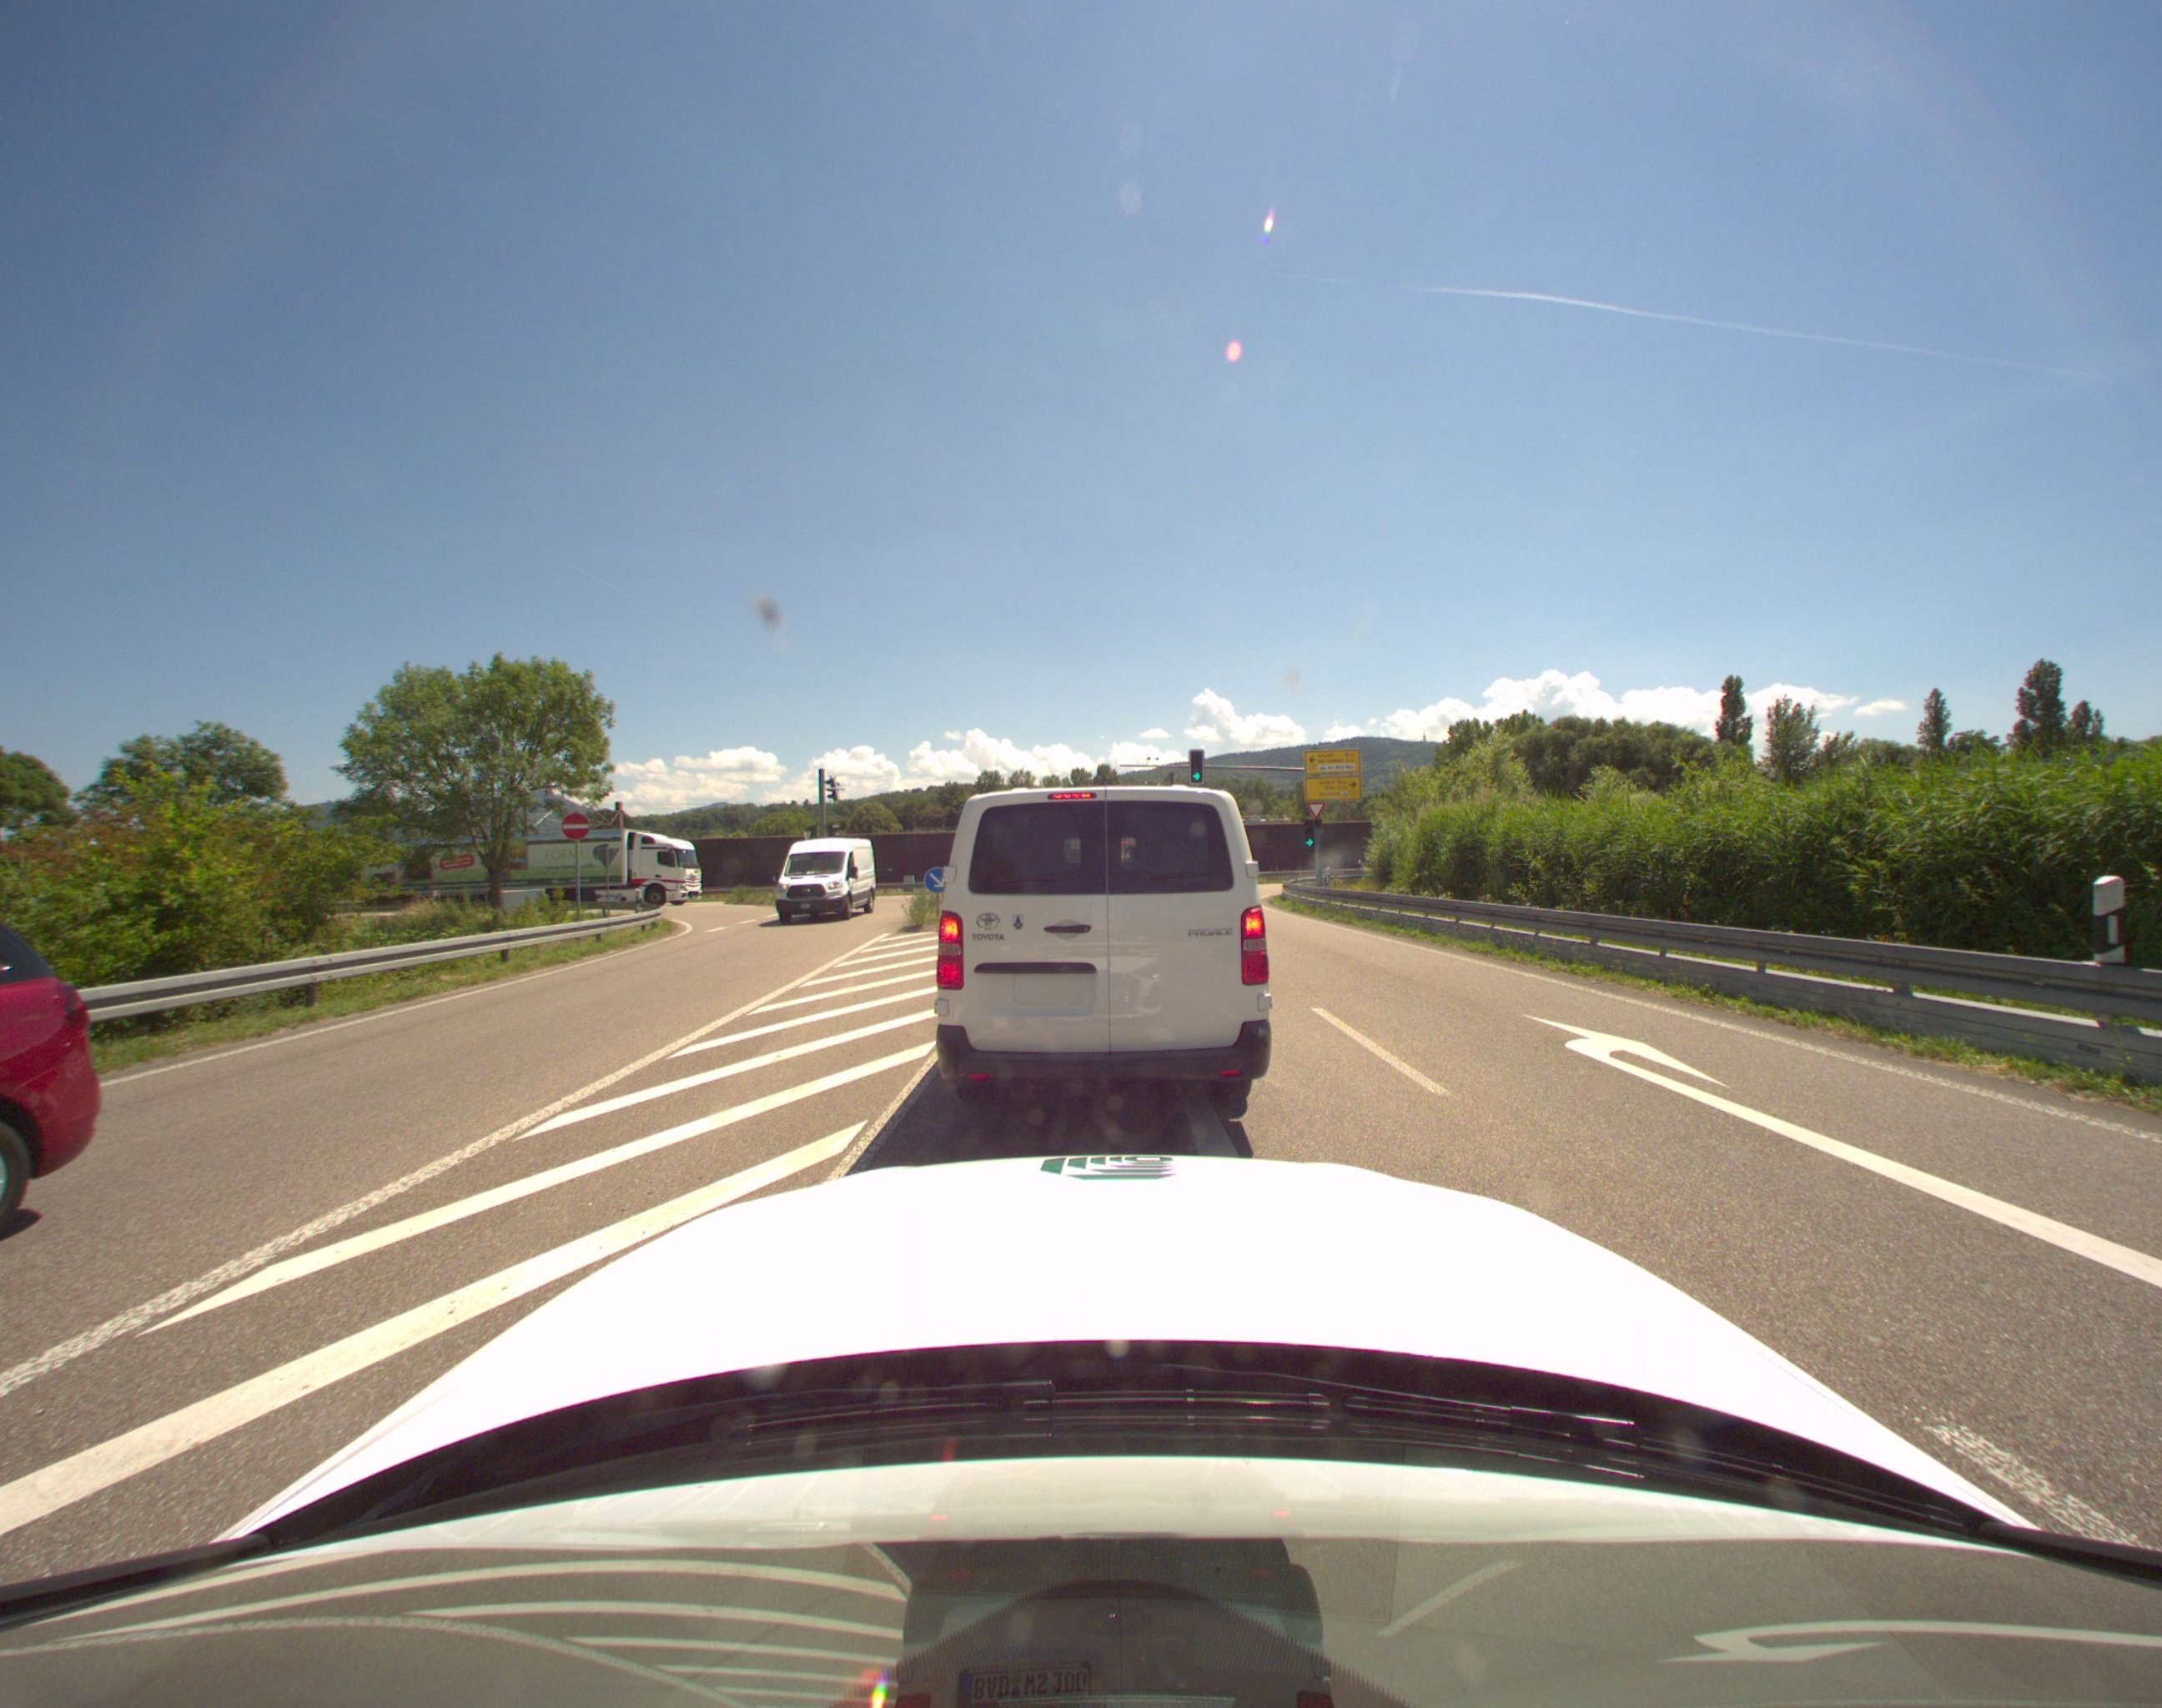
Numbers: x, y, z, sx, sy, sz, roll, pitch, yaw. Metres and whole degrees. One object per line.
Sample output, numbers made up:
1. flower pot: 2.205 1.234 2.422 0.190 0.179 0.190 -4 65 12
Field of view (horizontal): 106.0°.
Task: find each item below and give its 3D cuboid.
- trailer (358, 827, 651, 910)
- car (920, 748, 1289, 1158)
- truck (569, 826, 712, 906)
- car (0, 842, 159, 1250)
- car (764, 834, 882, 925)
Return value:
1. trailer: -29.986 0.751 42.752 13.098 3.954 3.061 -1 -1 0
2. car: 0.175 0.509 6.074 1.808 2.017 4.001 -1 -1 2
3. truck: -23.023 0.618 42.805 5.746 3.954 3.062 -1 -1 0
4. car: -5.286 0.814 1.820 1.732 1.685 4.204 -3 -1 -3
5. car: -7.806 0.713 25.318 1.989 2.416 5.584 -3 0 -3
